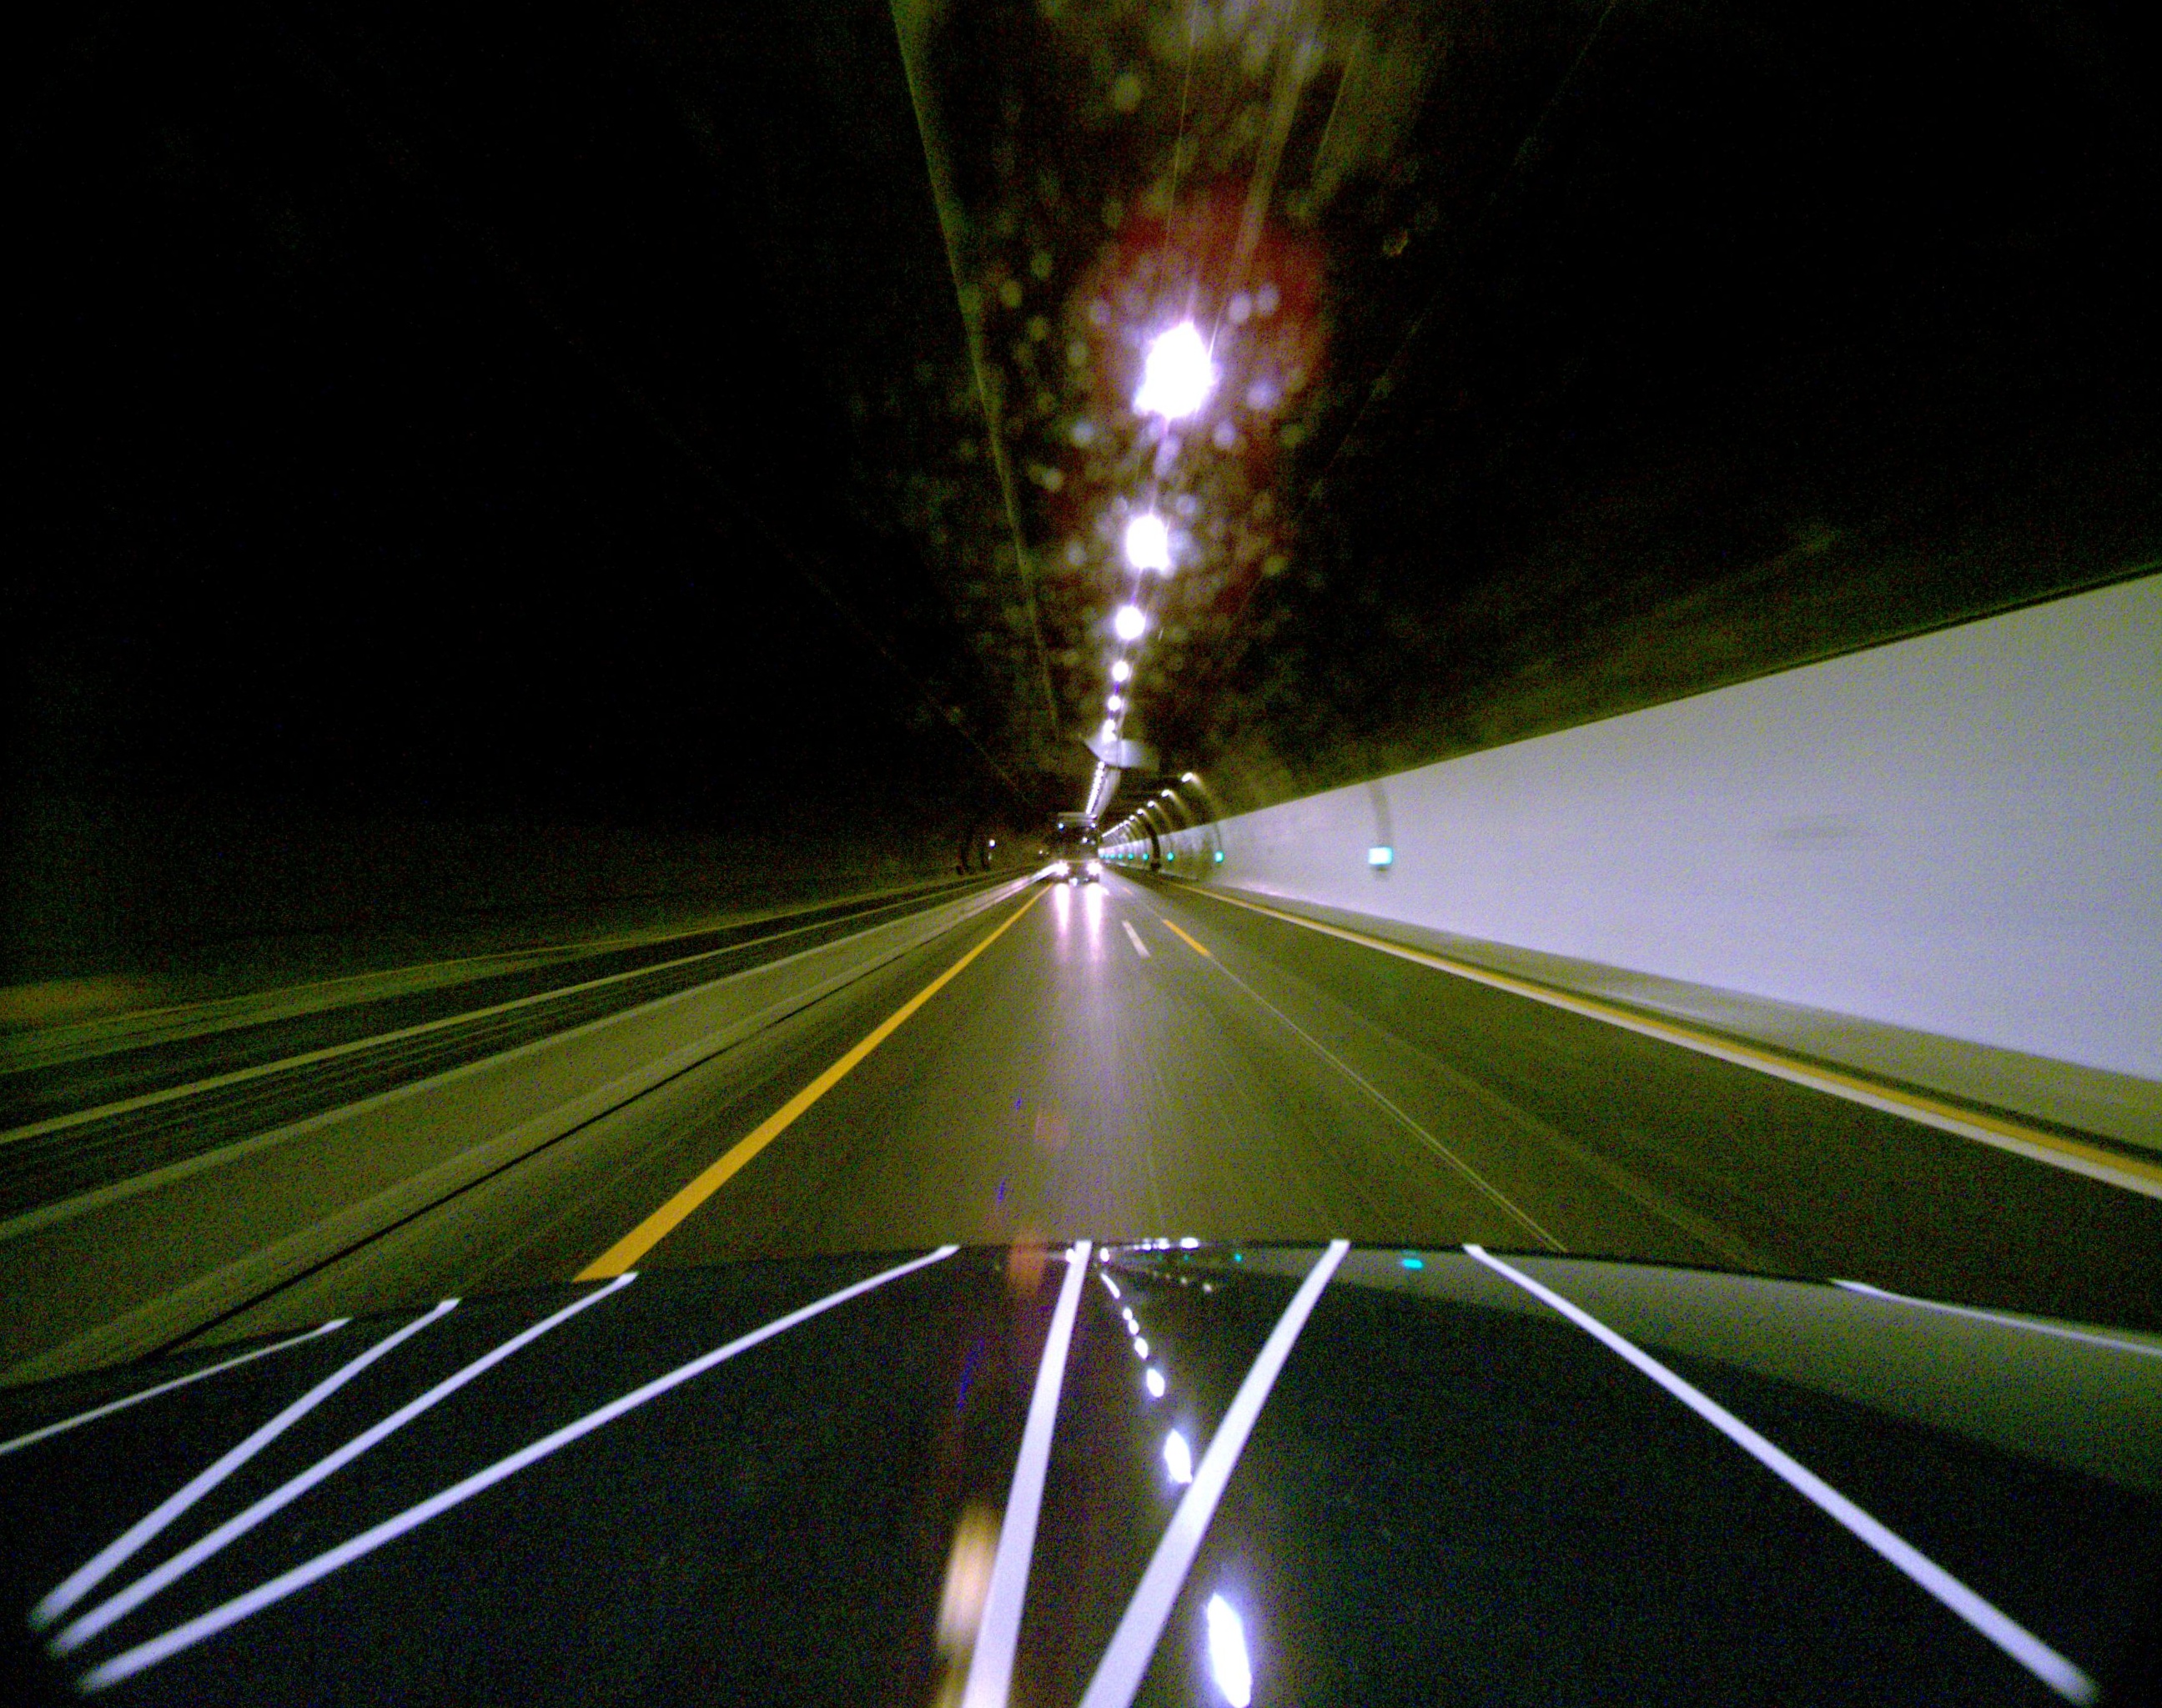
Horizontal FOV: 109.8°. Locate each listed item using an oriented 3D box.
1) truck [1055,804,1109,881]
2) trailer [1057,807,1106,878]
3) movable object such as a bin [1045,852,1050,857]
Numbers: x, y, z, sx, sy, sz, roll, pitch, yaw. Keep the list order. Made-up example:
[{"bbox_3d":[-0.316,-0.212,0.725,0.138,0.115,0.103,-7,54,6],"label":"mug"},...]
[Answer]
[{"bbox_3d":[0.008,-0.708,46.810,2.951,4.338,6.674,-2,1,-1],"label":"truck"},{"bbox_3d":[-0.055,-0.743,51.791,2.940,4.316,10.050,-2,1,-1],"label":"trailer"},{"bbox_3d":[-10.910,0.154,250.055,1.560,1.699,3.054,-2,1,-2],"label":"movable object such as a bin"}]
